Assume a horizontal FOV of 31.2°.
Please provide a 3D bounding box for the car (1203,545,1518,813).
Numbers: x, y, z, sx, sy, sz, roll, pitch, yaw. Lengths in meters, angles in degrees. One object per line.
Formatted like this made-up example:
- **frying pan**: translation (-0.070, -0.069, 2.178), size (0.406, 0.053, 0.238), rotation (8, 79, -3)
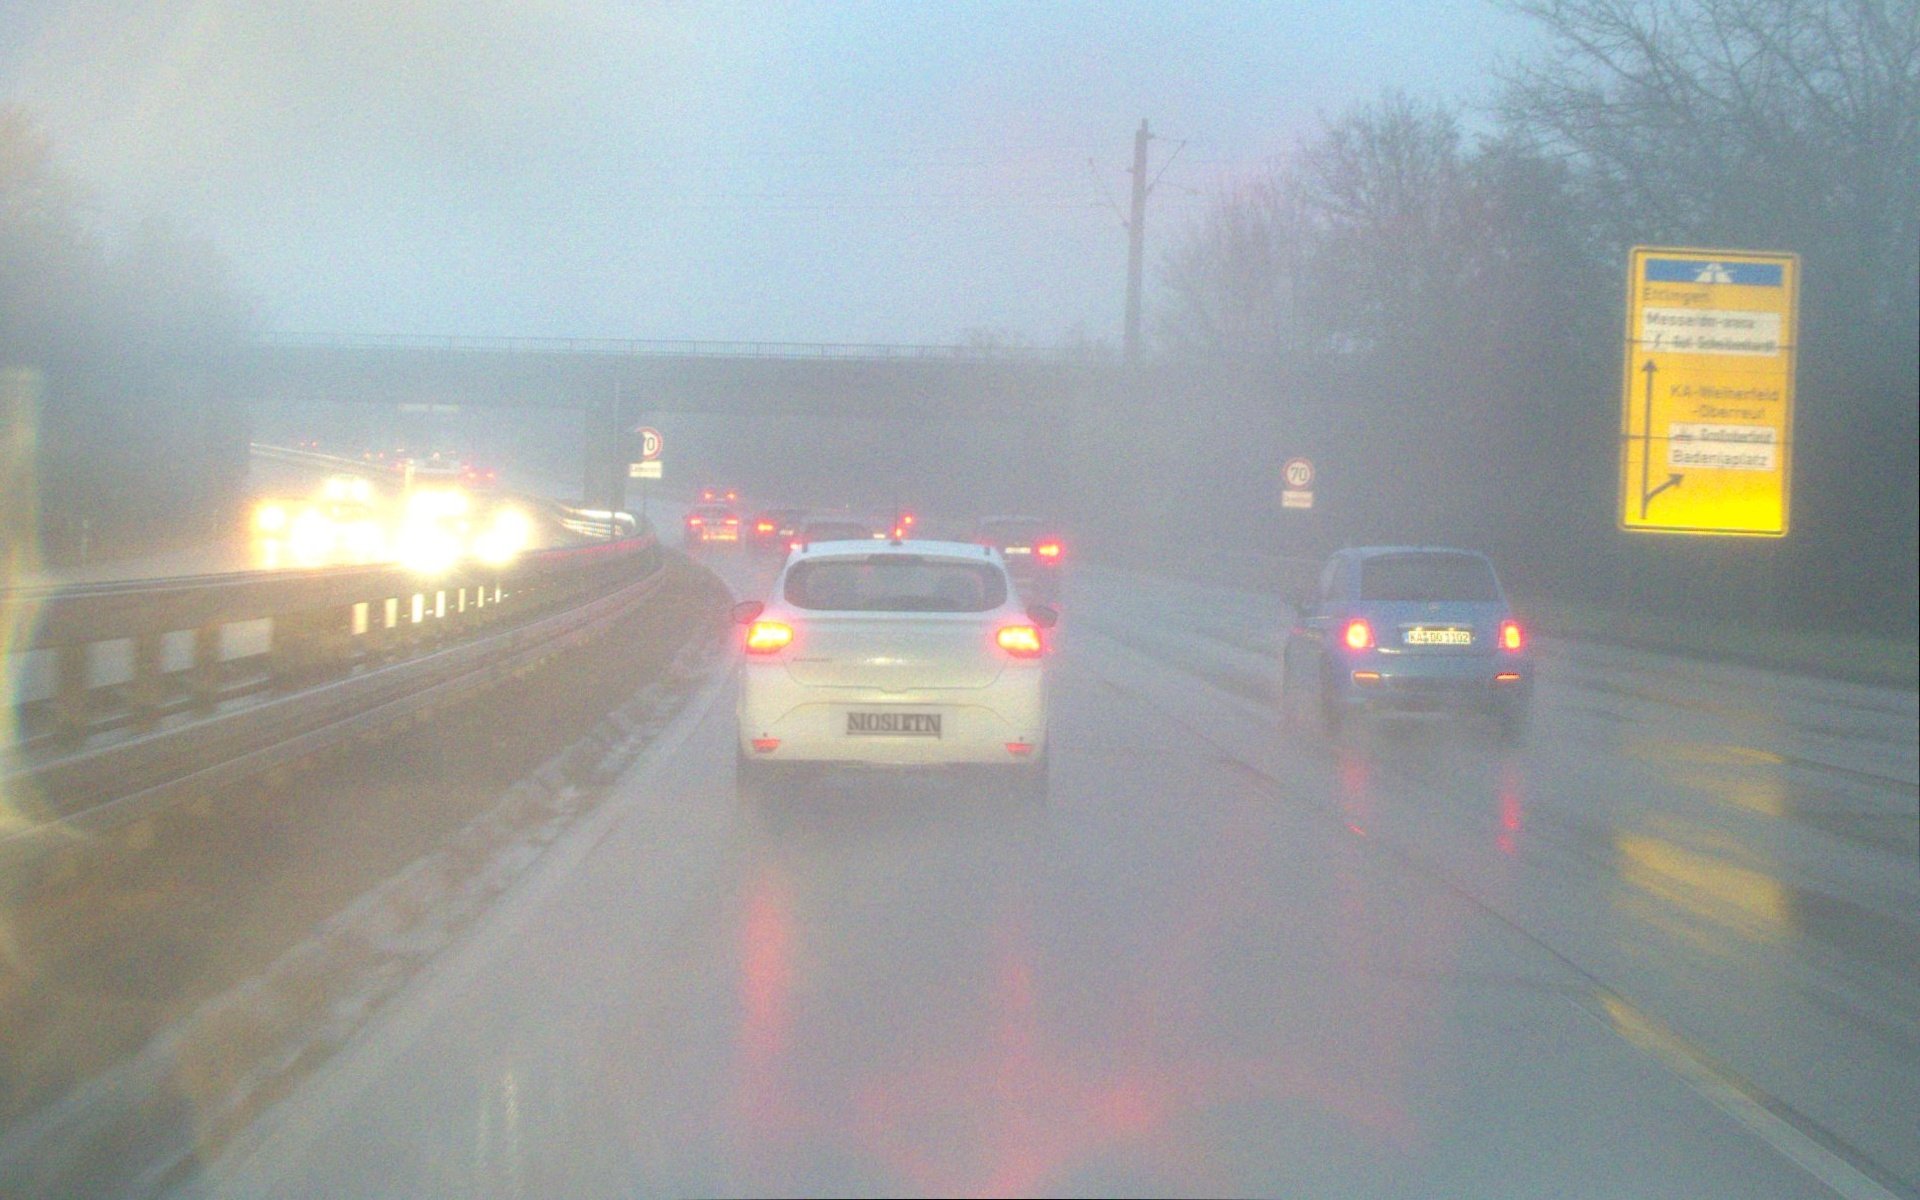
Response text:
- **car**: translation (3.227, 0.589, 28.431), size (1.932, 2.012, 3.774), rotation (2, 1, -3)

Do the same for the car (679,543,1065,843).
- **car**: translation (-0.422, 0.485, 20.777), size (2.025, 1.569, 4.000), rotation (2, 1, 2)

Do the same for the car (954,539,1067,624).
- **car**: translation (0.993, -0.351, 69.404), size (1.932, 1.541, 3.773), rotation (-4, 0, -3)

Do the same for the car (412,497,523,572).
- **car**: translation (-9.986, -1.327, 69.946), size (1.754, 1.436, 4.000), rotation (2, 1, -2)

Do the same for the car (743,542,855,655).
- **car**: translation (-3.055, -0.054, 65.262), size (1.993, 2.007, 4.001), rotation (2, 1, -3)

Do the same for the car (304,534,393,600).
- **car**: translation (-16.294, -0.894, 91.776), size (1.692, 1.660, 4.433), rotation (2, 1, -2)
